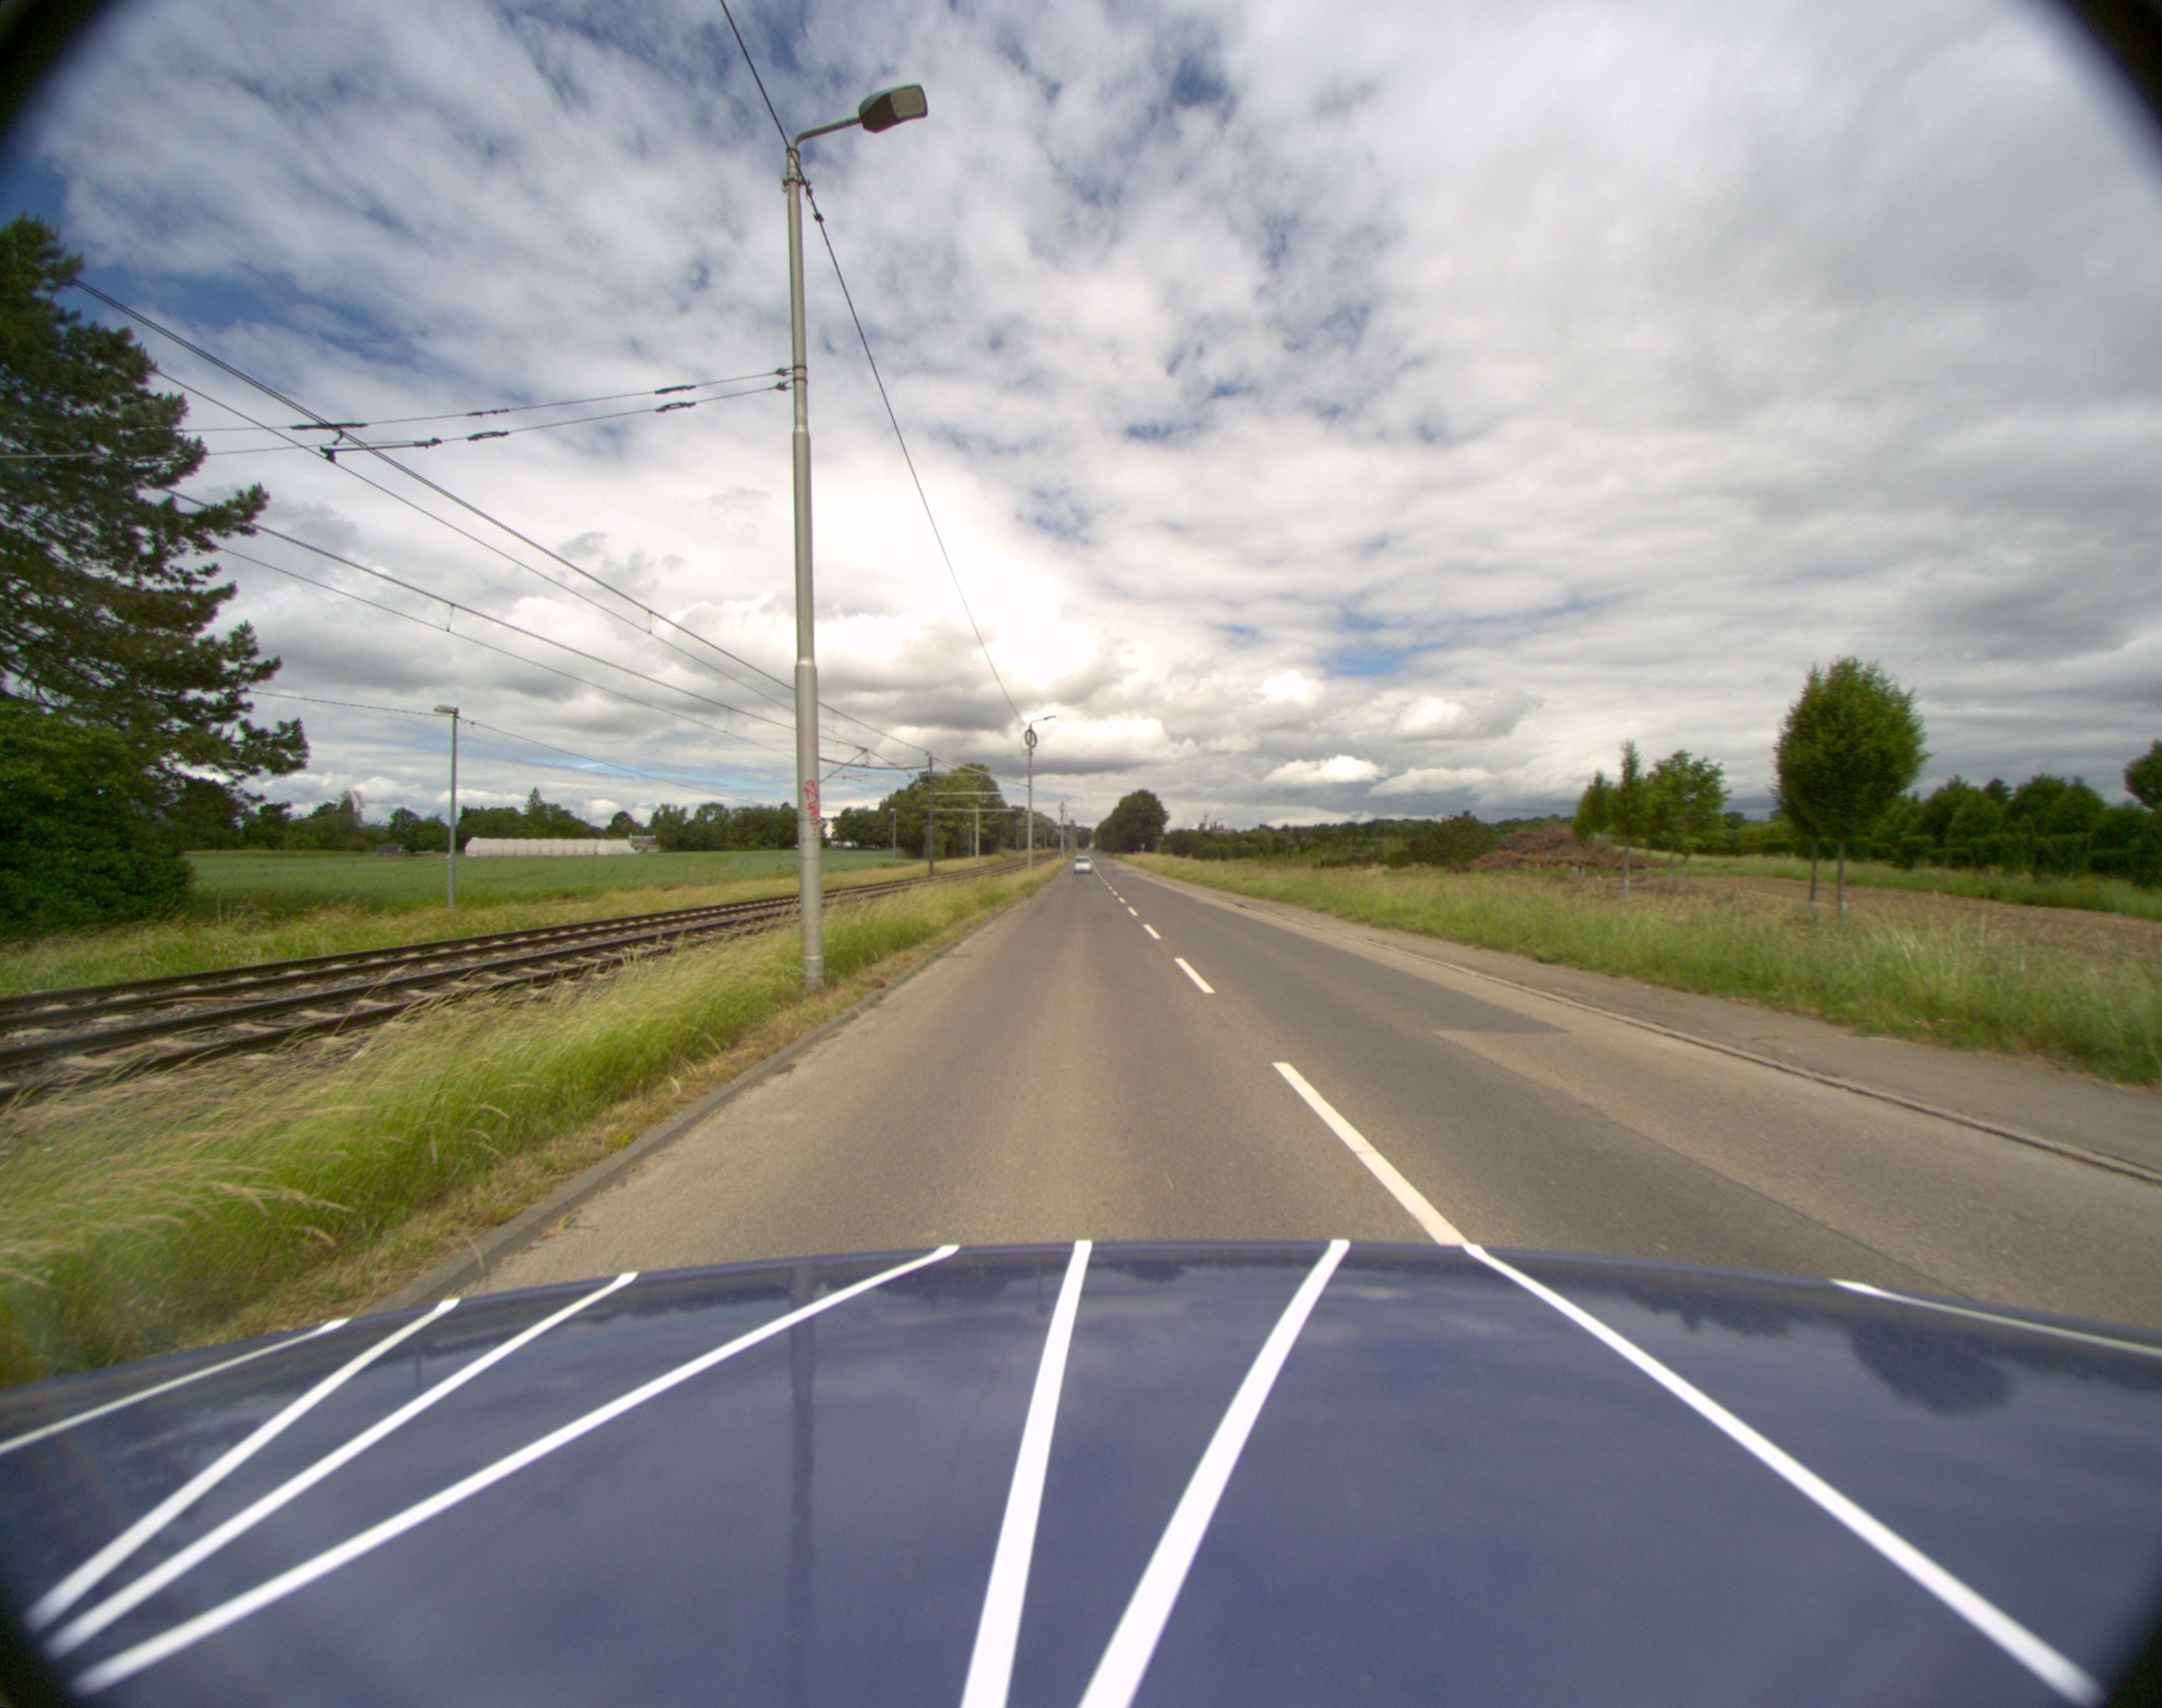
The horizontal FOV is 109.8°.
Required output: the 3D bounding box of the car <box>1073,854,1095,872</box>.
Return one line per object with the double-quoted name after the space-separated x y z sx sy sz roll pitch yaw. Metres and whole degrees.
0.299 0.824 72.618 1.999 1.679 3.999 -1 0 -1 "car"
